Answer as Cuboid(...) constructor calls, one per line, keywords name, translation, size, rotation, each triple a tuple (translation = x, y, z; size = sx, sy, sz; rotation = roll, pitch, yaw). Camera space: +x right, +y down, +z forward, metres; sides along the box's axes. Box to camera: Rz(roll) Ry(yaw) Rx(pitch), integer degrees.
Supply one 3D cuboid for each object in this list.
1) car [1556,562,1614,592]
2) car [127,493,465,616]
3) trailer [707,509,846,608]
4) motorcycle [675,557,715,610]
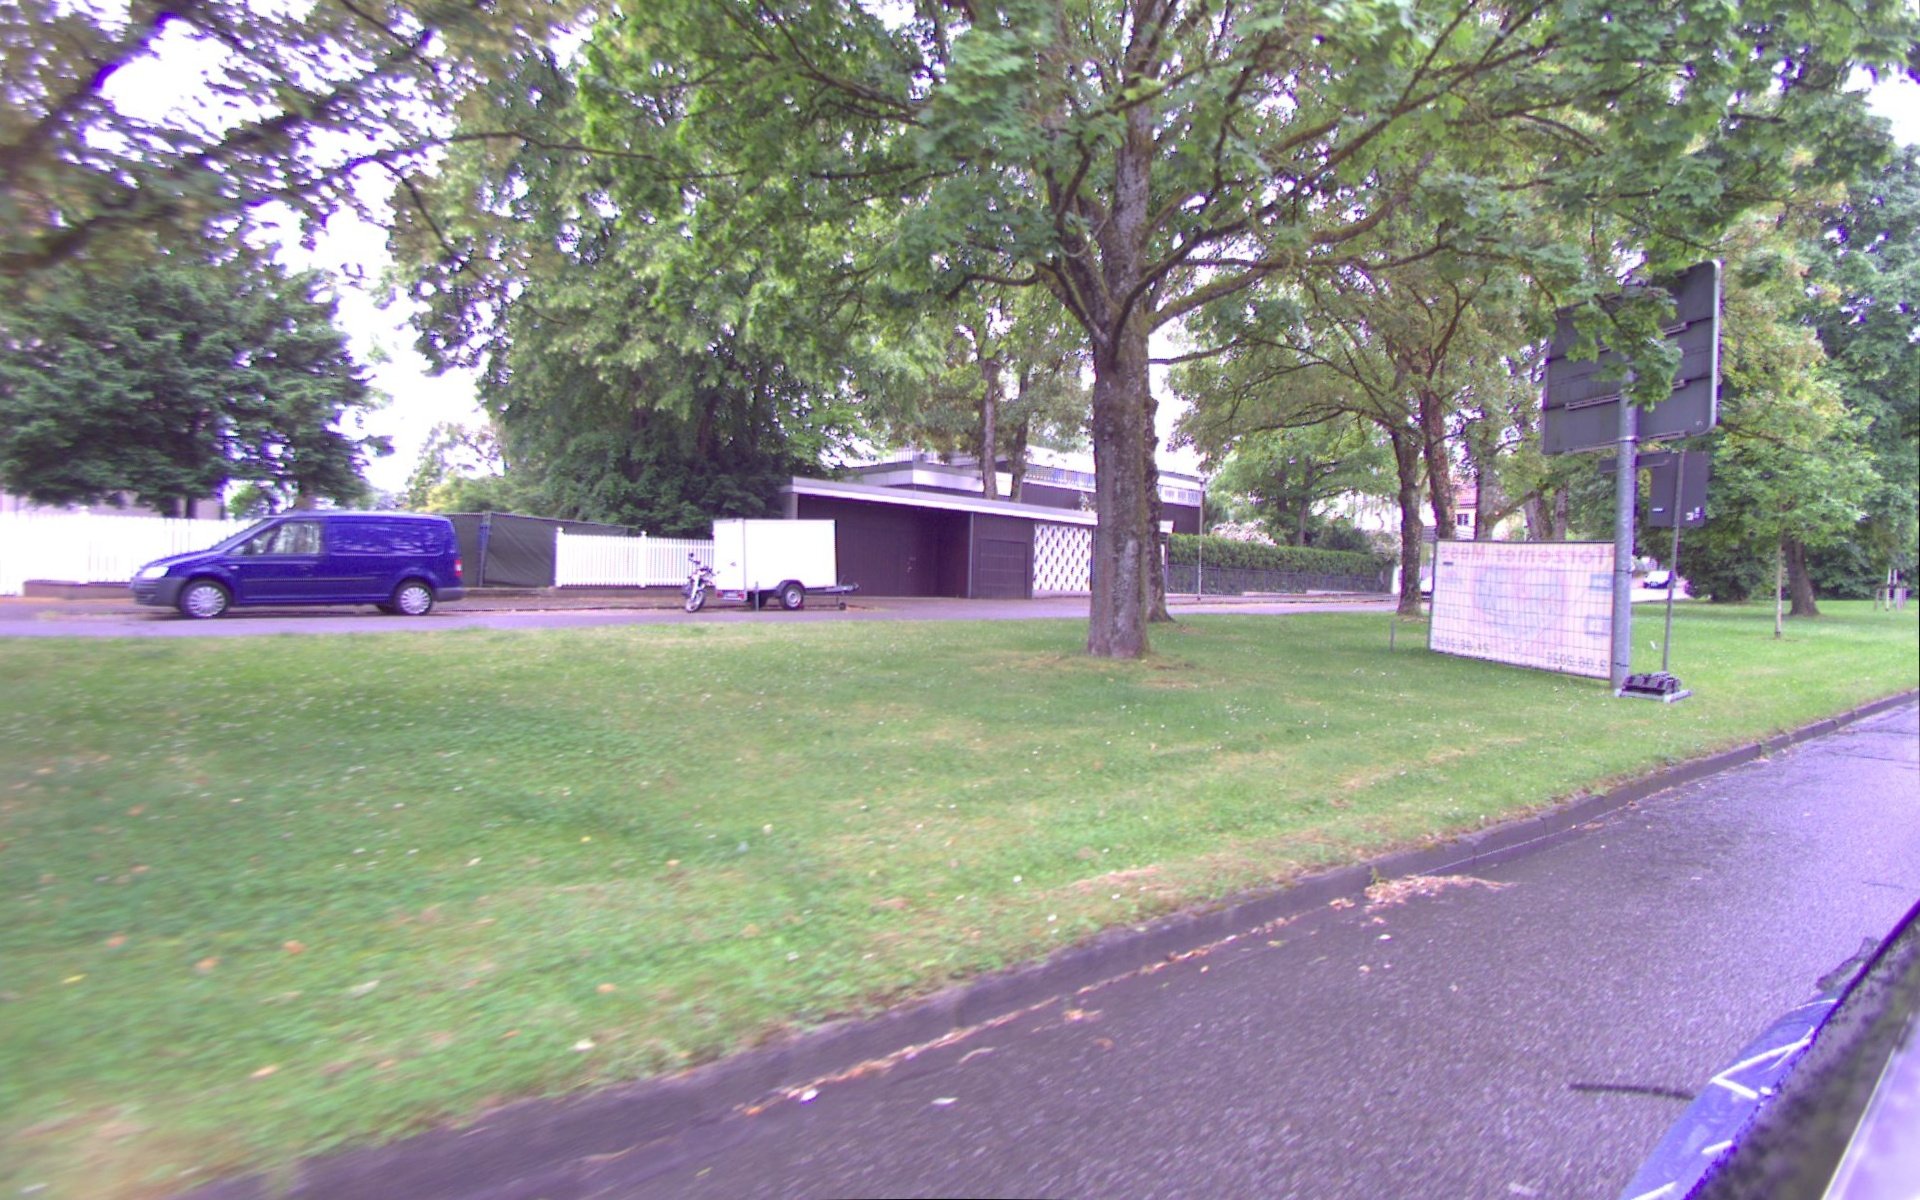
Cuboid(name="car", translation=(42.705, -1.601, 69.099), size=(4.986, 1.901, 2.162), rotation=(-3, 4, -43))
Cuboid(name="car", translation=(-11.255, -0.705, 17.362), size=(4.569, 1.831, 1.945), rotation=(1, 3, -43))
Cuboid(name="trailer", translation=(-4.290, -0.960, 23.796), size=(1.437, 2.181, 2.903), rotation=(3, 3, 45))
Cuboid(name="motorcycle", translation=(-5.813, -0.375, 22.148), size=(0.645, 1.106, 1.896), rotation=(2, 1, -20))
